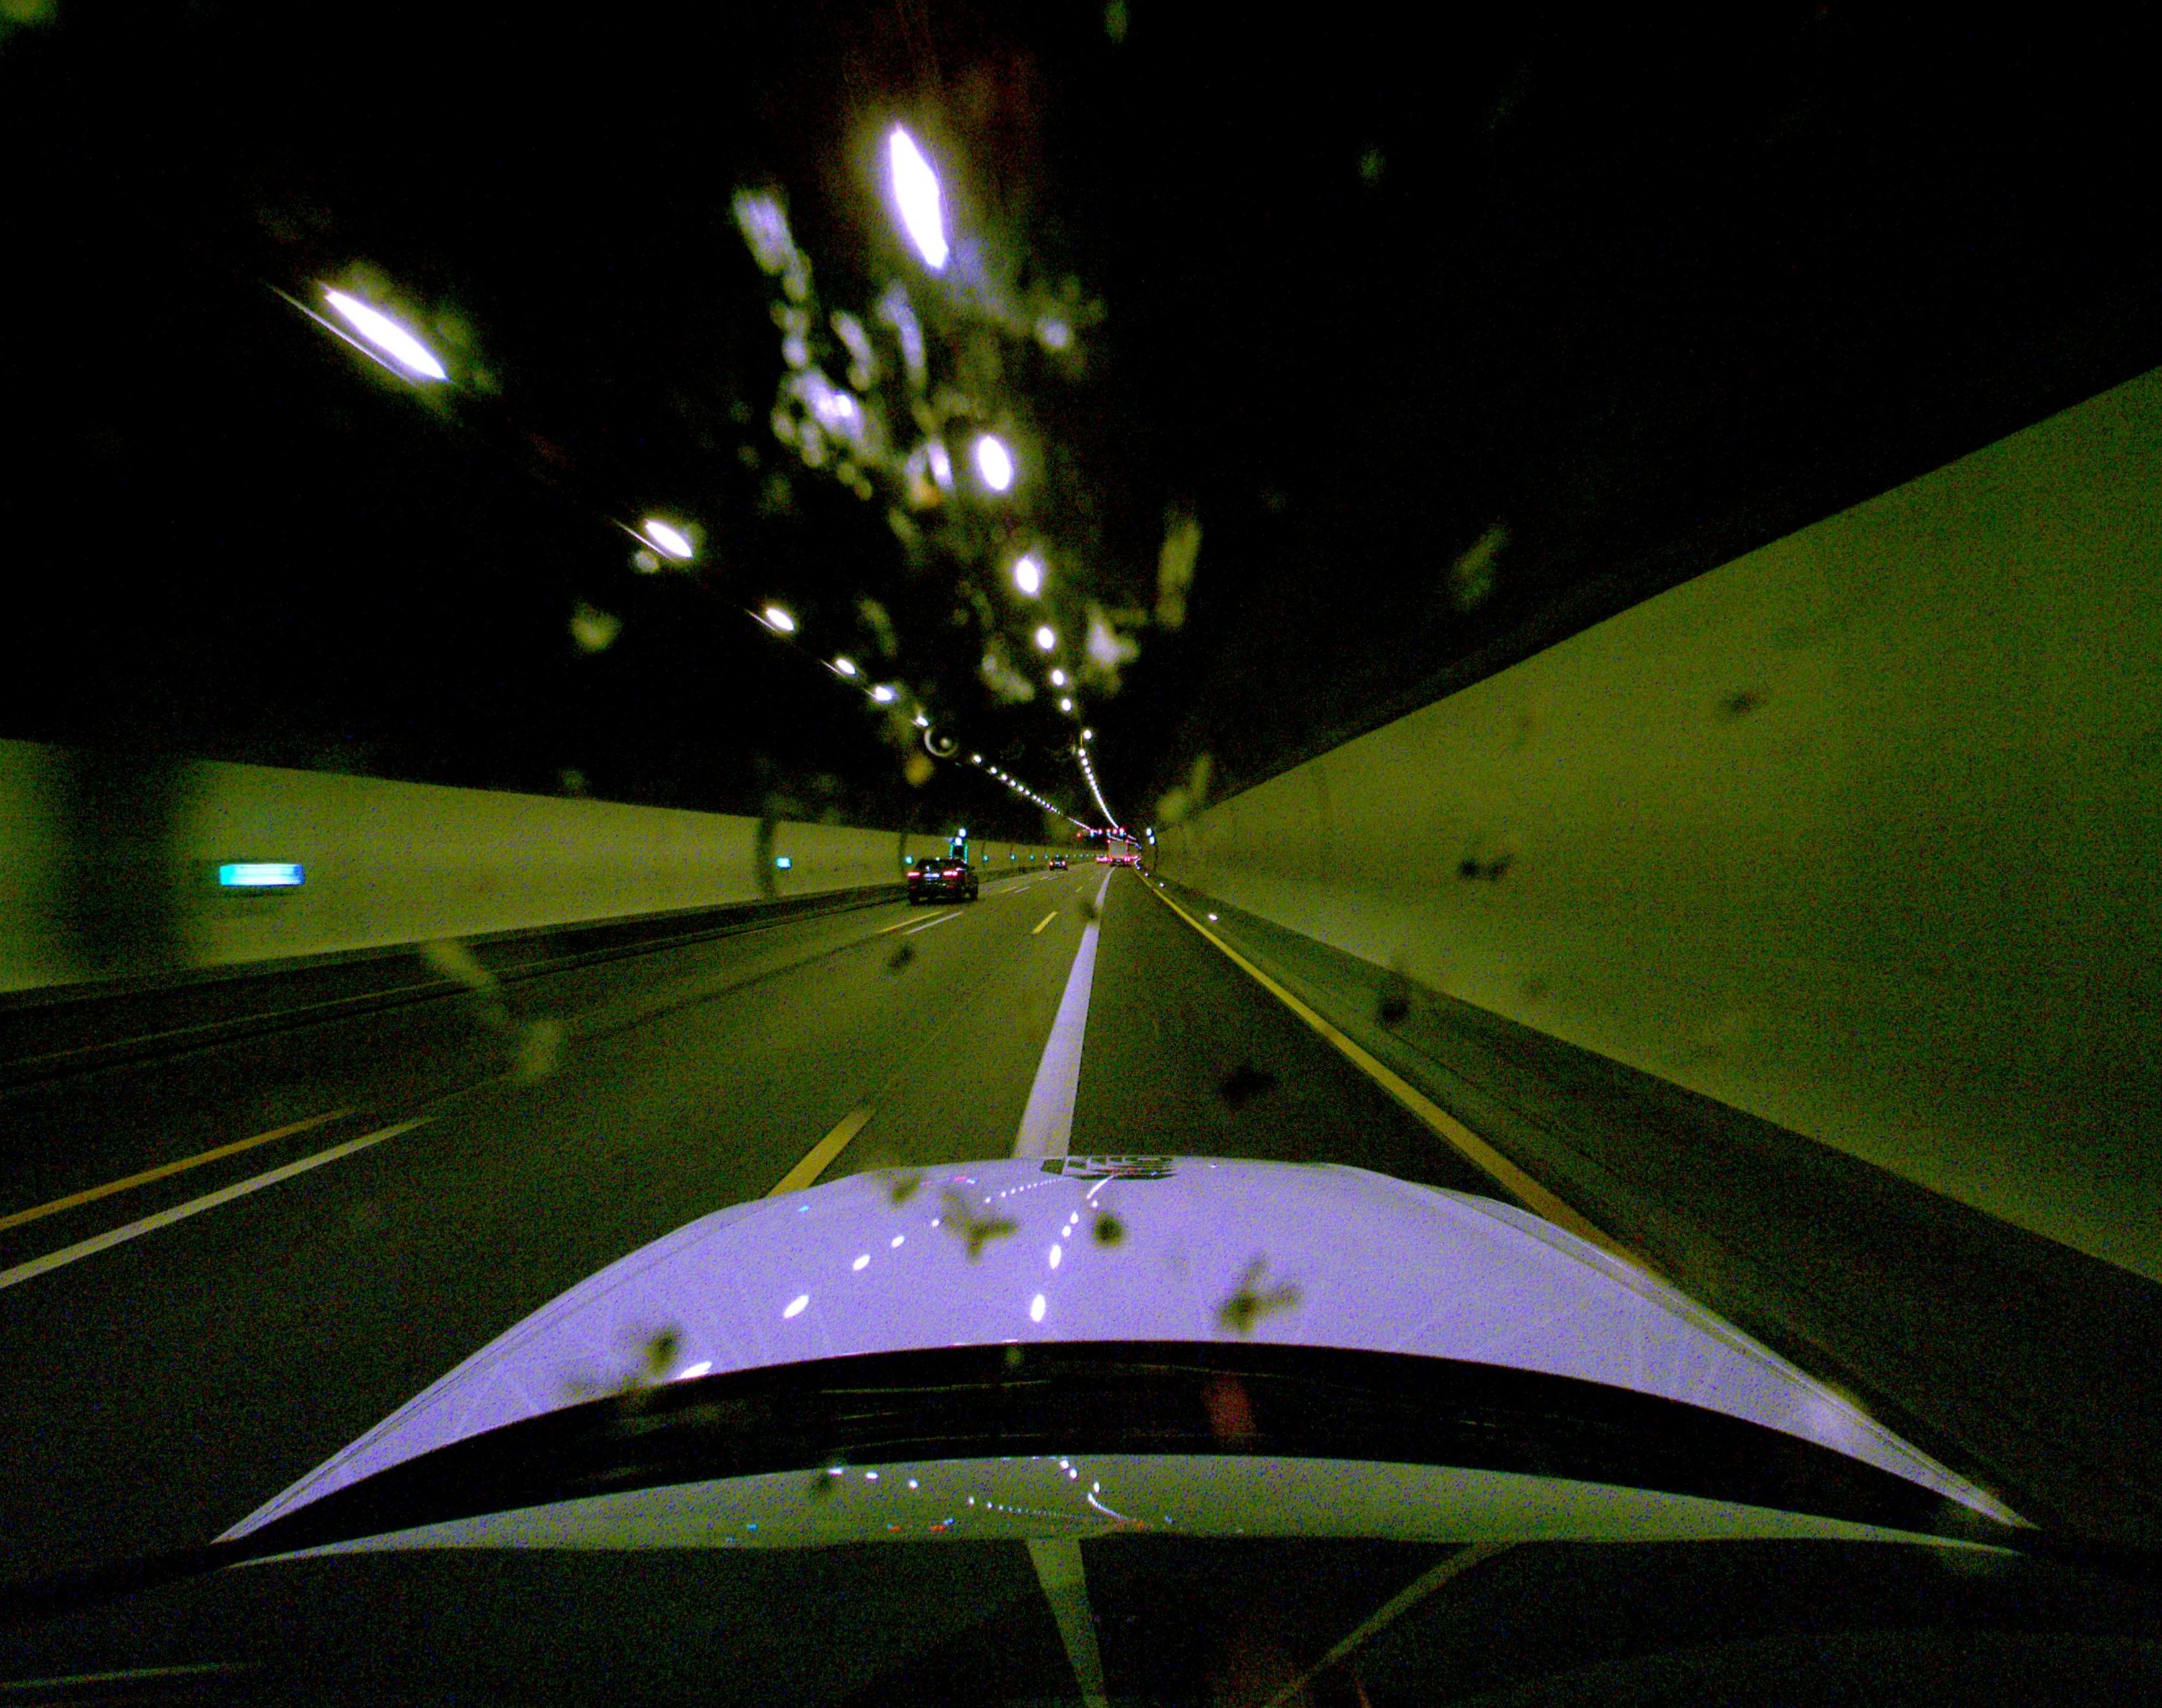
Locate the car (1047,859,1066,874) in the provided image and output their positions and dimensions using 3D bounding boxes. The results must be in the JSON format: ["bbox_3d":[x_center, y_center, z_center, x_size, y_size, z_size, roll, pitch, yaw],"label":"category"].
[{"bbox_3d":[-2.490,1.286,84.061,1.683,1.417,3.925,-3,0,2],"label":"car"}]

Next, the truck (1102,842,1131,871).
[{"bbox_3d":[4.769,0.239,111.434,3.579,3.650,10.726,-3,0,1],"label":"truck"}]

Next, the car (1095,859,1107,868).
[{"bbox_3d":[3.568,1.601,142.685,1.987,1.412,4.743,-3,0,1],"label":"car"}]

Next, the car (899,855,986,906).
[{"bbox_3d":[-4.782,0.865,28.774,1.986,1.540,4.745,-3,0,2],"label":"car"}]
